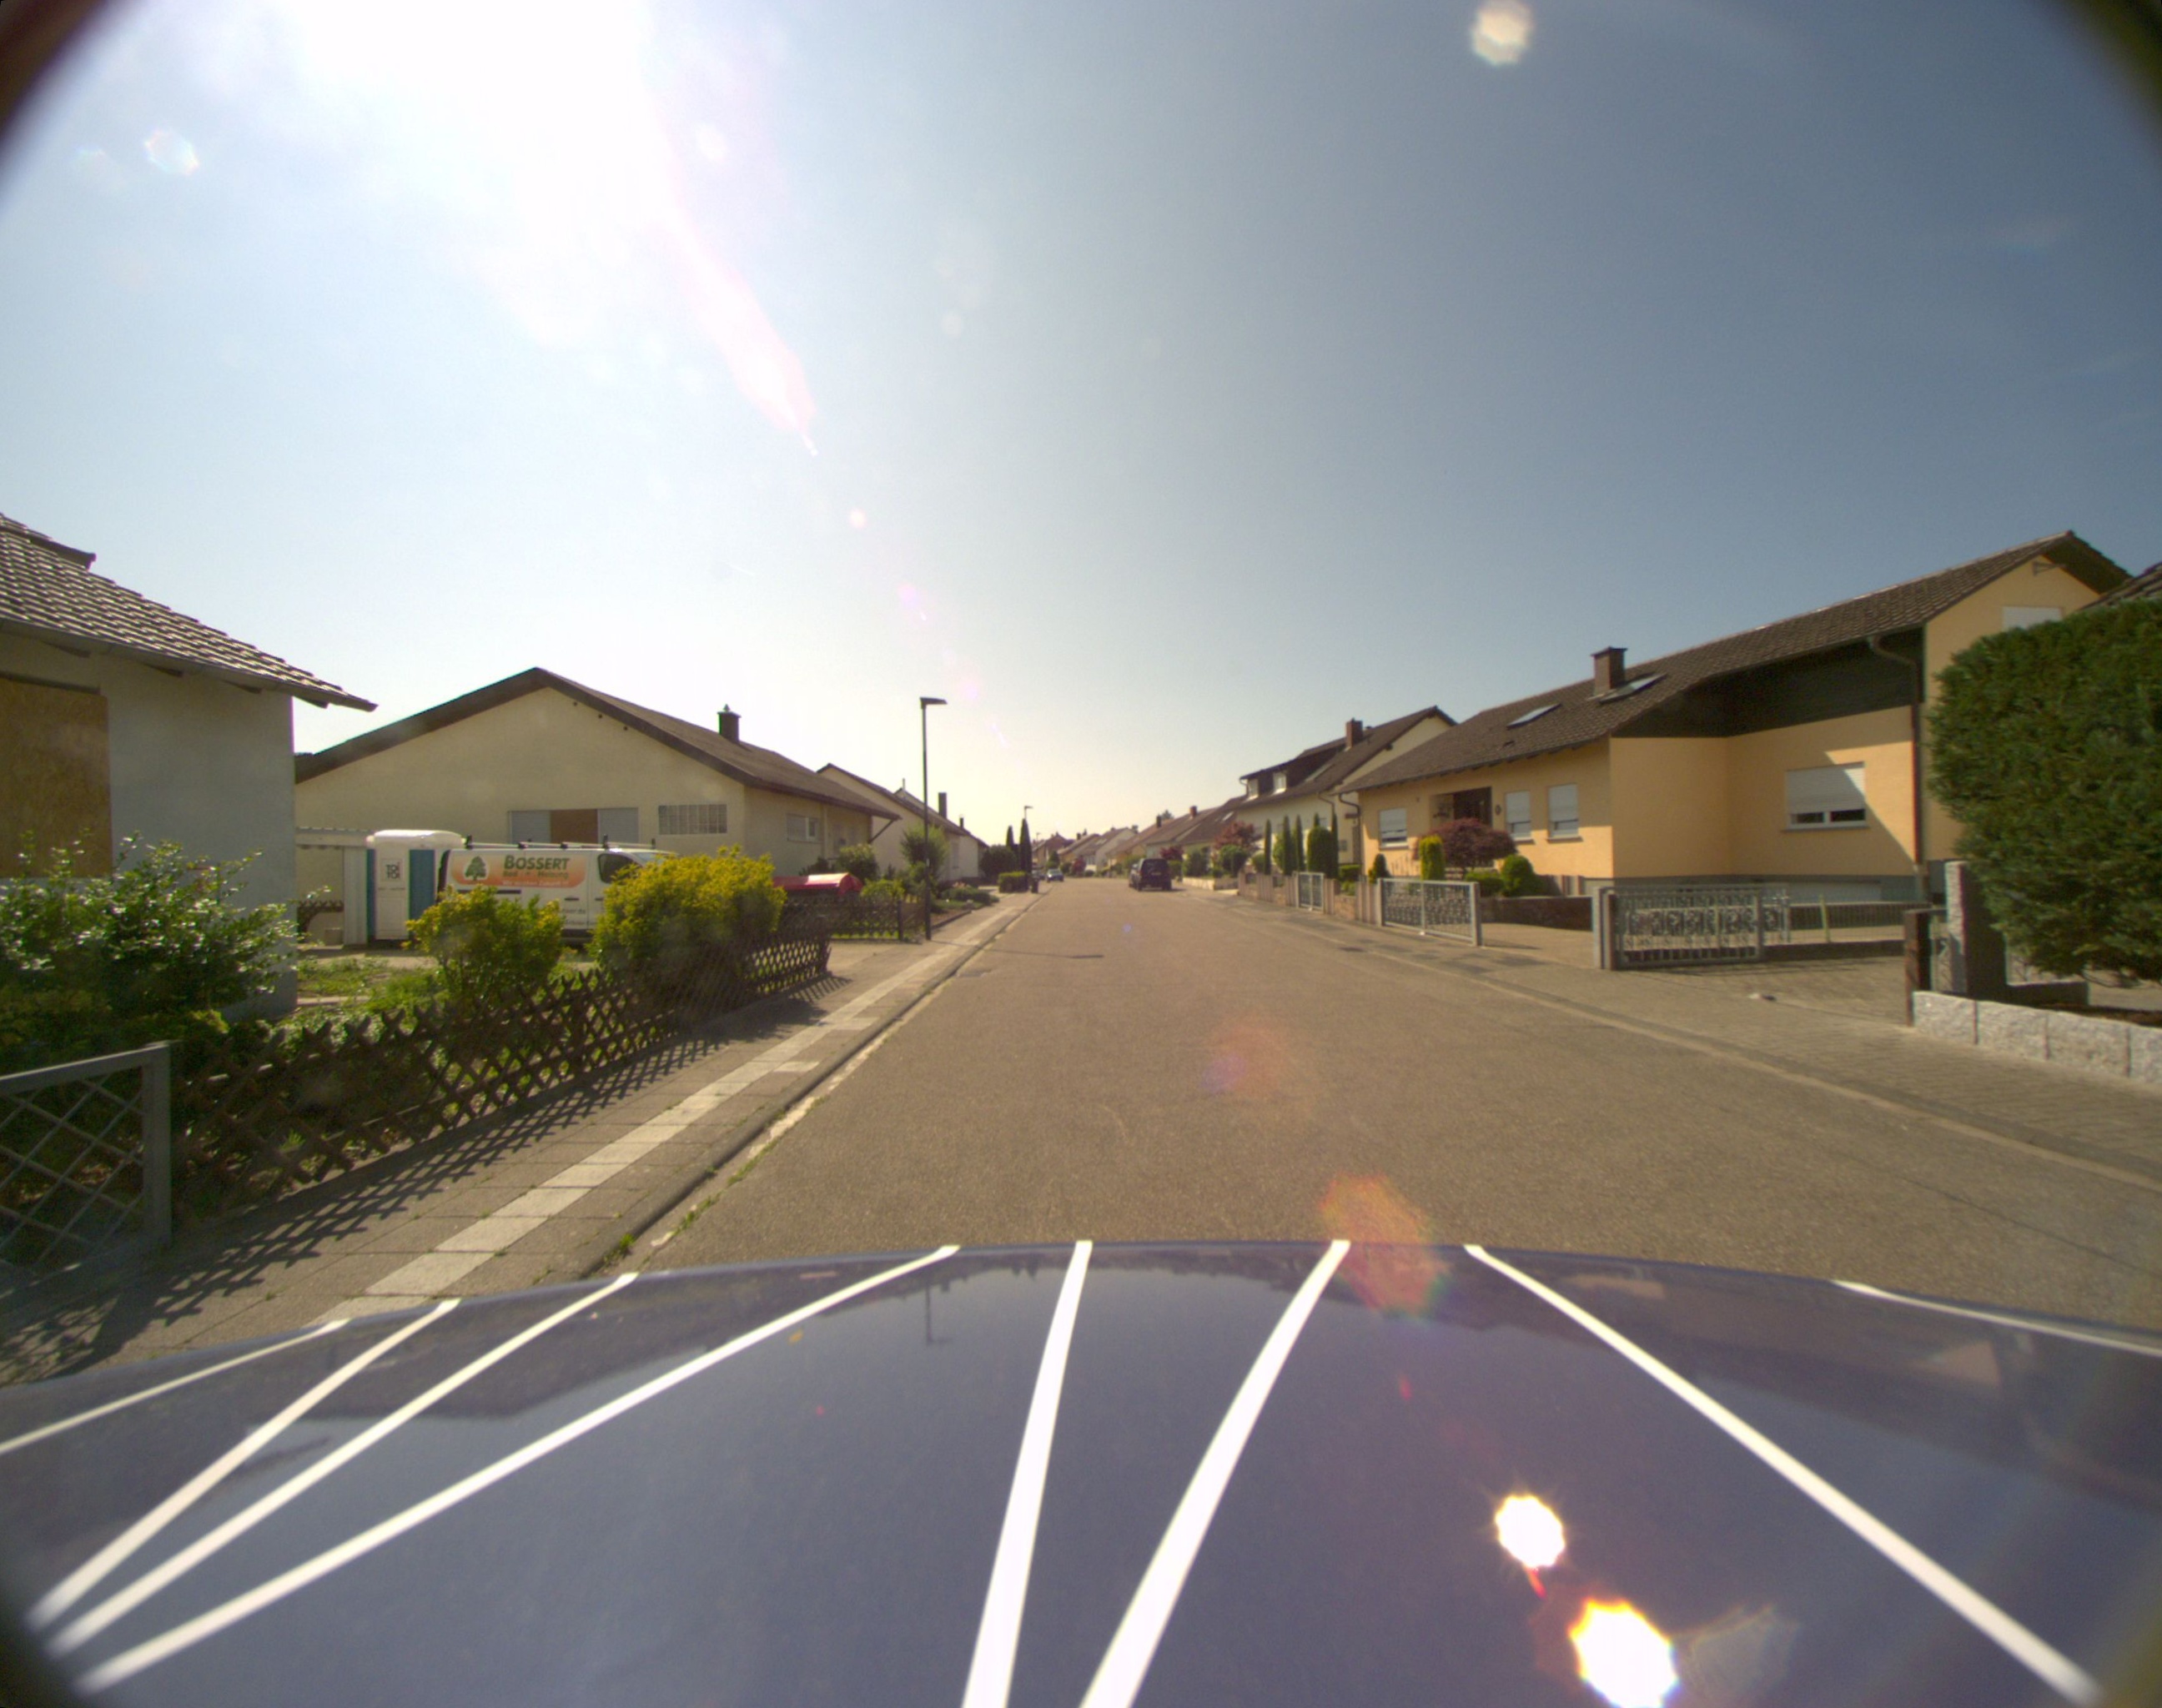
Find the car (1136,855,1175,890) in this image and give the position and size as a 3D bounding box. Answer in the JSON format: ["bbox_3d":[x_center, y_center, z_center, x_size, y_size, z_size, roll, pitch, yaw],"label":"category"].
[{"bbox_3d":[4.024,1.001,41.781,1.769,1.767,3.652,-2,0,0],"label":"car"}]

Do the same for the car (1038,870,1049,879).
[{"bbox_3d":[-5.401,2.980,109.346,1.459,1.270,3.102,-1,0,-5],"label":"car"}]

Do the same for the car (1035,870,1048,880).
[{"bbox_3d":[-5.161,2.759,99.059,1.459,1.270,3.102,-1,0,-7],"label":"car"}]

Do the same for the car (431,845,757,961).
[{"bbox_3d":[-9.063,0.885,14.434,5.008,2.002,1.868,-1,0,2],"label":"car"}]

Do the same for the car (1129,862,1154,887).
[{"bbox_3d":[3.740,1.257,47.148,1.305,1.415,3.104,-2,0,0],"label":"car"}]

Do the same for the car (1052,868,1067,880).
[{"bbox_3d":[-2.474,2.305,86.426,1.459,1.270,3.102,-1,0,-6],"label":"car"}]
